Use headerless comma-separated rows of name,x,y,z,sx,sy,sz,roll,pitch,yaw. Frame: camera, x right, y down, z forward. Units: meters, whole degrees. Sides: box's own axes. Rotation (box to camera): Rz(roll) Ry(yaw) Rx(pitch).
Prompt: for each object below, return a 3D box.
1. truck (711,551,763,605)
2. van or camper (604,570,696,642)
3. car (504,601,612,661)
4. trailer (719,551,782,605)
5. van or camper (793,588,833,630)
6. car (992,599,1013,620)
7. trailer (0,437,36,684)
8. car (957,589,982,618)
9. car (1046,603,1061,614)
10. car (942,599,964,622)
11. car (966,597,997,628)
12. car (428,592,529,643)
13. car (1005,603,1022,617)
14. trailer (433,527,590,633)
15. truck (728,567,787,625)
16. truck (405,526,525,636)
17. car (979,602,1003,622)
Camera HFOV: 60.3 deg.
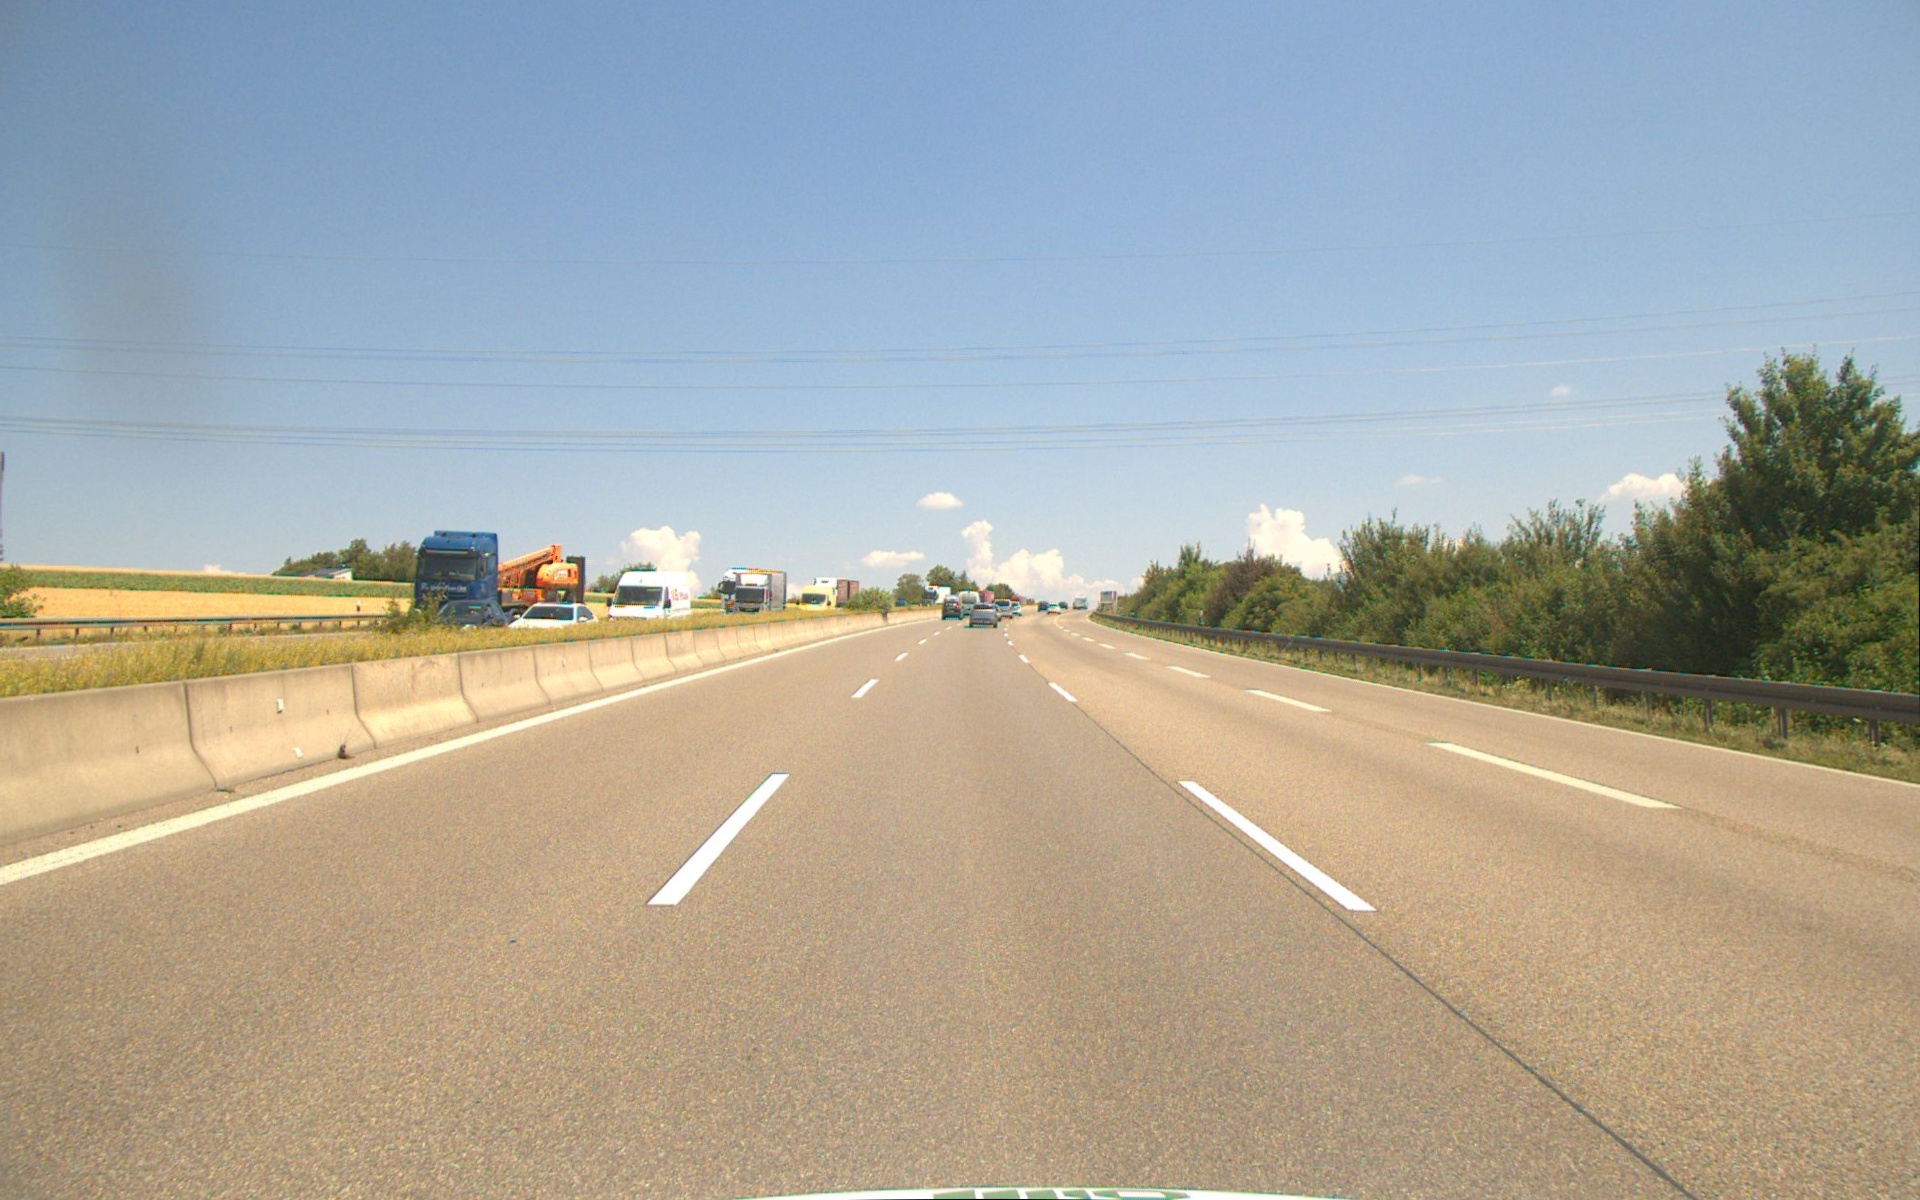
truck,-17.481,-1.669,130.106,2.793,4.098,6.517,1,0,3
van or camper,-11.457,0.237,61.653,2.025,2.507,7.519,-1,0,0
car,-11.743,0.871,48.748,1.887,1.615,5.667,1,0,-1
trailer,-17.155,-1.703,136.612,2.735,4.177,14.011,1,0,3
van or camper,-9.978,0.577,112.740,2.041,2.755,6.140,1,0,1
car,4.228,0.924,163.801,1.952,1.937,4.000,1,-3,3
trailer,-18.888,-0.752,23.931,3.176,4.464,14.026,1,0,0
car,0.985,0.381,168.589,2.134,2.671,4.673,1,-3,4
car,12.887,1.158,228.064,1.861,1.467,4.003,1,0,6
car,-0.640,0.922,148.480,1.809,1.893,4.206,1,1,1
car,1.382,0.832,106.877,1.953,1.781,3.999,1,-3,0
car,-15.001,0.535,51.775,1.781,1.505,4.503,1,0,1
car,6.476,1.166,199.047,1.952,1.579,4.002,2,0,3
trailer,-18.868,-0.747,70.786,2.780,4.027,13.728,1,0,1
truck,-13.739,-0.285,112.633,2.875,3.809,7.780,1,0,1
truck,-18.949,-0.700,63.641,2.719,4.007,6.137,1,0,0
car,2.663,1.048,142.707,1.953,1.613,3.999,0,-1,-1
